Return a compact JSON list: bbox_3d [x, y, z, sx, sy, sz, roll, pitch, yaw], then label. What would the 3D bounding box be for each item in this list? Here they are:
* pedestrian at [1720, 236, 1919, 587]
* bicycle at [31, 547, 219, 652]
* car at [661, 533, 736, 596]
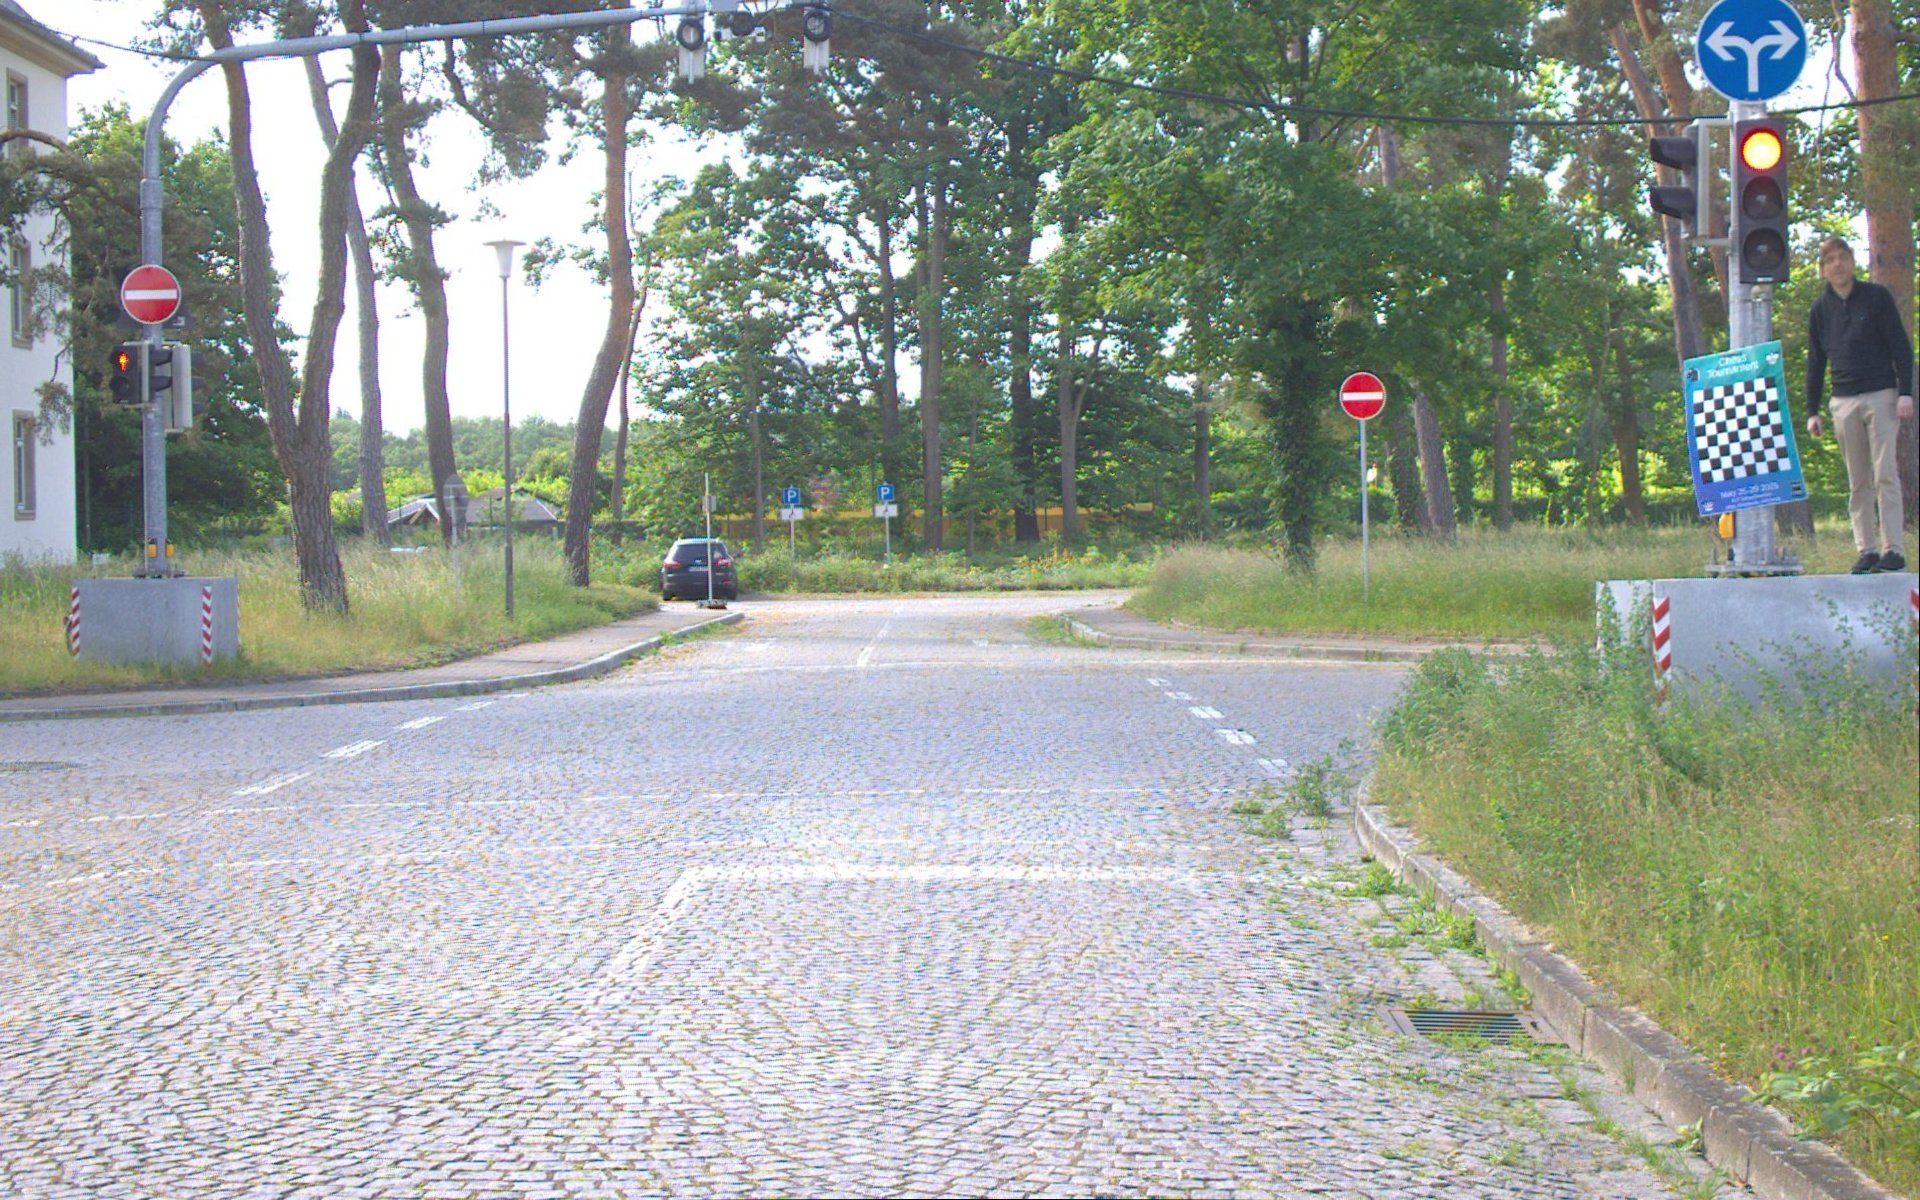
[{"bbox_3d":[4.811,-0.989,18.385,1.170,1.790,1.061,-1,2,29],"label":"pedestrian"},{"bbox_3d":[-8.908,-0.021,36.747,0.634,1.062,1.946,0,2,39],"label":"bicycle"},{"bbox_3d":[-6.533,-0.914,86.131,1.709,1.491,3.919,-1,1,-3],"label":"car"}]
